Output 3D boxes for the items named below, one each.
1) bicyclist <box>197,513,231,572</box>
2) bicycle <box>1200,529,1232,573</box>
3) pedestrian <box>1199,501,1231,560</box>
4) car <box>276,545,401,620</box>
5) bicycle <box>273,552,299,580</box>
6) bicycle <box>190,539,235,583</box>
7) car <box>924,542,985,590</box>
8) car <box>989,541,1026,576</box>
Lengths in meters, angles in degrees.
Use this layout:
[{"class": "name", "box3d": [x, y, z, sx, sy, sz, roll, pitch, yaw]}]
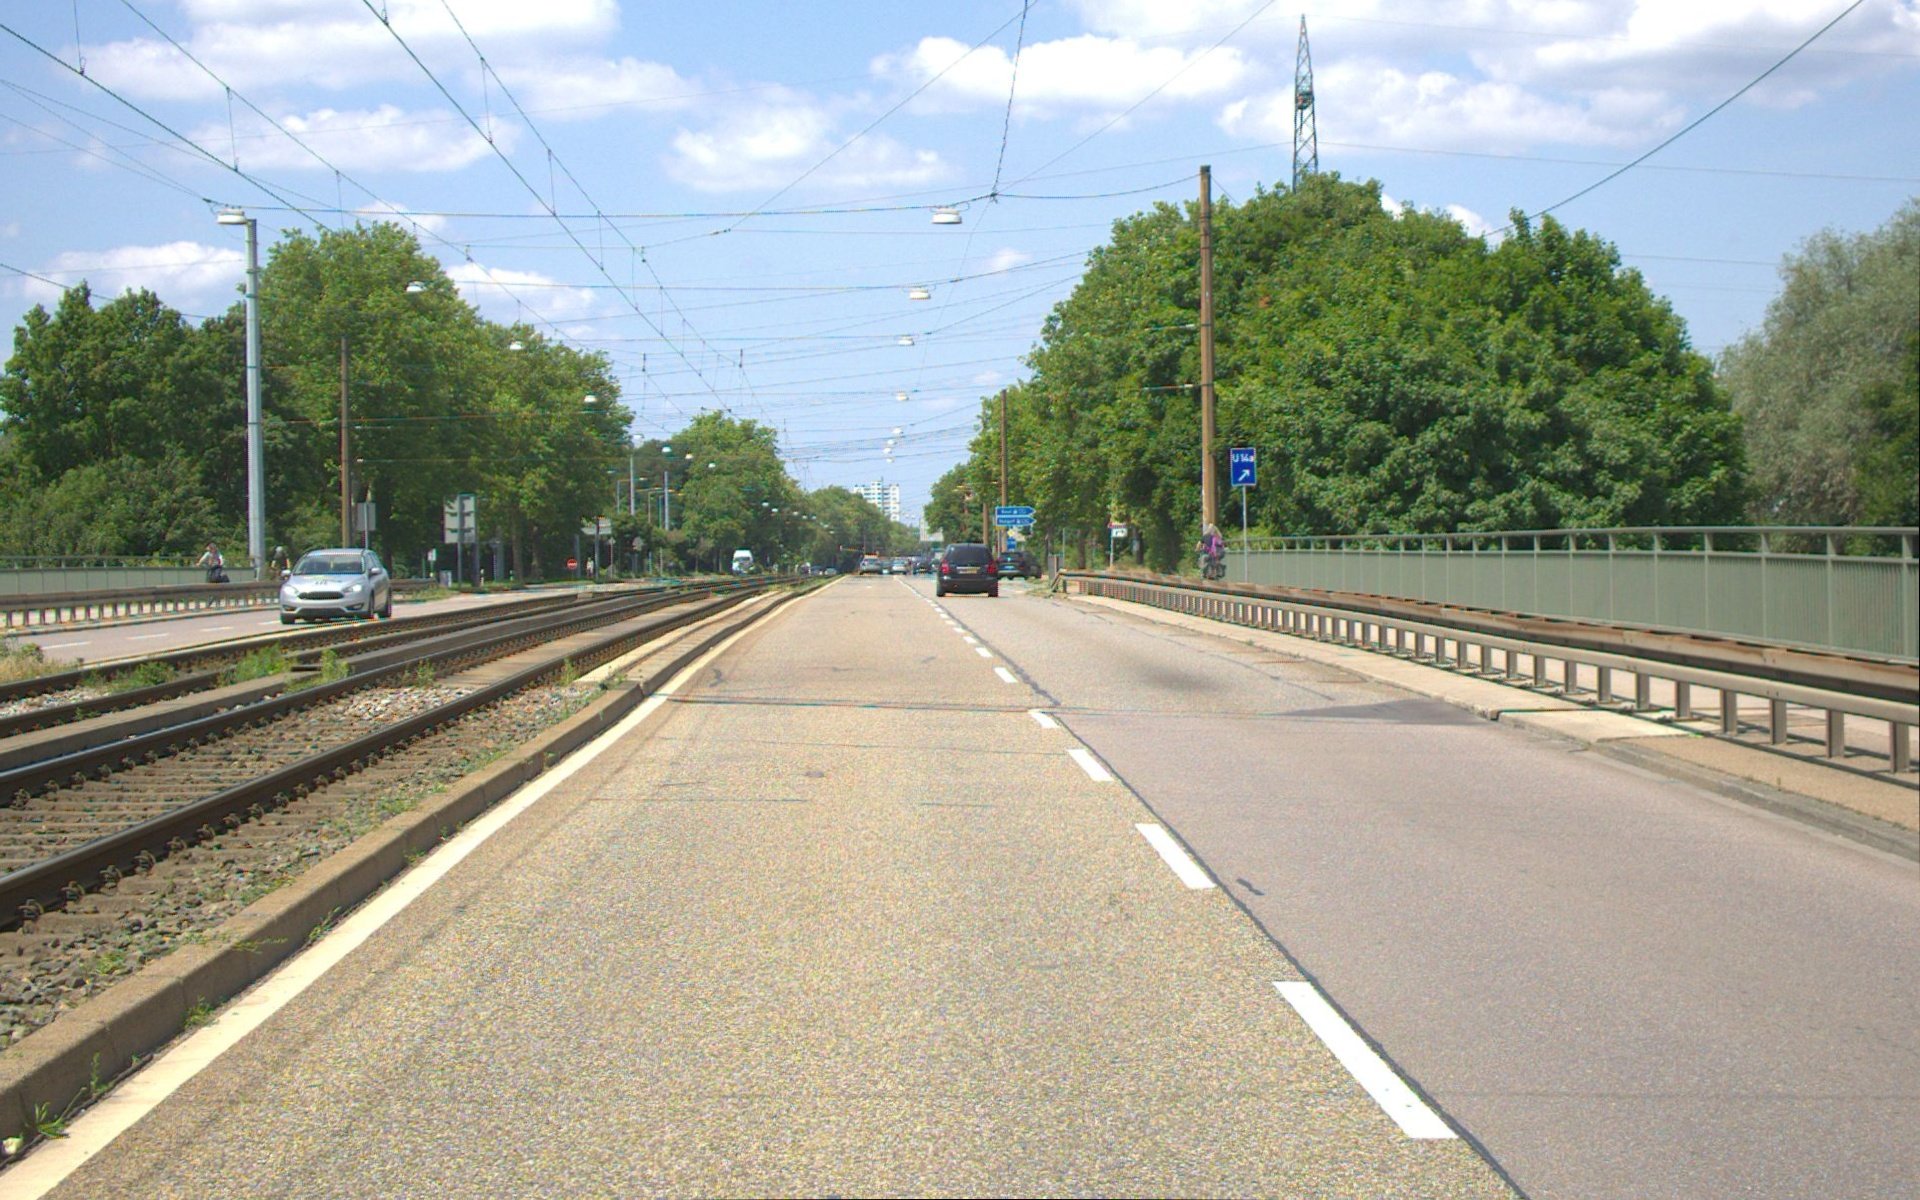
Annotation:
[{"class": "bicyclist", "box3d": [-20.578, -1.578, 94.828, 0.763, 1.616, 0.838, 0, 1, -2]}, {"class": "bicycle", "box3d": [6.015, -1.142, 80.789, 0.559, 1.021, 1.848, -1, 0, -1]}, {"class": "pedestrian", "box3d": [6.000, -1.622, 80.852, 0.628, 1.369, 1.050, -1, 0, -1]}, {"class": "car", "box3d": [-12.452, -0.371, 69.088, 1.711, 1.415, 4.624, -2, 1, -1]}, {"class": "bicycle", "box3d": [-20.800, -1.058, 106.112, 0.522, 0.840, 2.036, 1, 1, -4]}, {"class": "bicycle", "box3d": [-20.602, -1.072, 94.769, 0.857, 1.181, 2.062, 0, 1, -2]}, {"class": "car", "box3d": [-0.175, -1.019, 101.035, 1.586, 1.338, 3.273, -1, 1, -3]}, {"class": "car", "box3d": [2.679, -2.347, 194.169, 1.993, 1.963, 4.000, 0, 1, -1]}]
